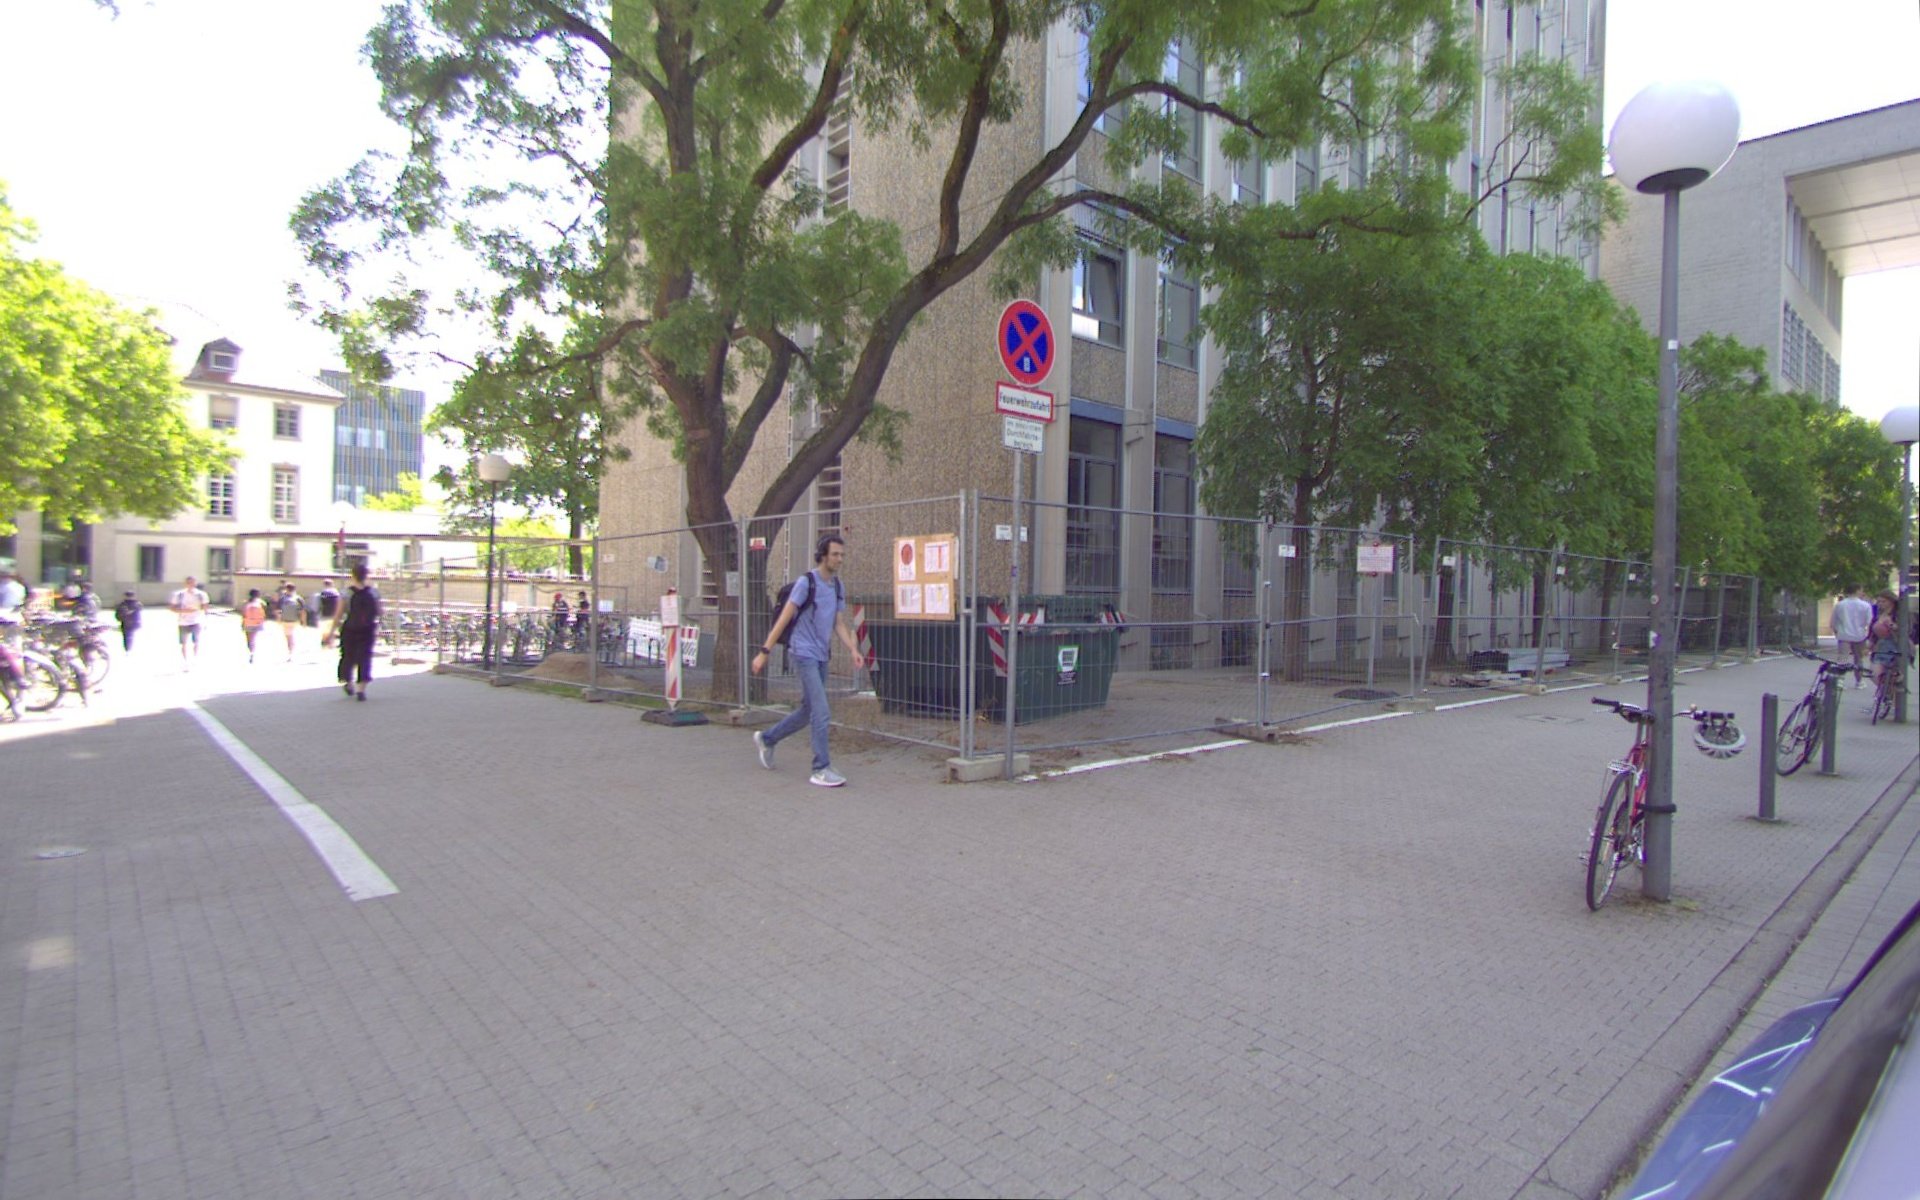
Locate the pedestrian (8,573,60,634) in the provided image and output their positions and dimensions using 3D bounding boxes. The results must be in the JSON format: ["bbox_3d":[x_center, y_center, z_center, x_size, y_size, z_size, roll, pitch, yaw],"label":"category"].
[{"bbox_3d":[-28.574,0.088,31.237,0.886,1.845,0.686,-1,2,-7],"label":"pedestrian"}]

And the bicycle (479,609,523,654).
[{"bbox_3d":[-12.680,0.863,27.937,0.536,1.184,1.998,1,-2,-42],"label":"bicycle"}]

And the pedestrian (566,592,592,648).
[{"bbox_3d":[-11.153,0.582,29.614,0.553,1.634,0.532,0,-1,-41],"label":"pedestrian"}]

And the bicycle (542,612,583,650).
[{"bbox_3d":[-12.800,0.990,32.577,0.536,1.184,2.063,1,-2,-42],"label":"bicycle"}]

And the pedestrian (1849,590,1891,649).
[{"bbox_3d":[26.377,0.556,29.344,0.697,1.676,0.873,1,0,30],"label":"pedestrian"}]

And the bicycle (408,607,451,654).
[{"bbox_3d":[-13.994,0.799,26.684,0.536,1.184,1.998,1,-2,-42],"label":"bicycle"}]

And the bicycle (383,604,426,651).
[{"bbox_3d":[-14.426,0.710,26.272,0.536,1.184,1.998,1,-2,-42],"label":"bicycle"}]

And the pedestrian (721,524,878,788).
[{"bbox_3d":[-1.136,0.350,7.032,0.689,1.672,1.048,-1,0,-34],"label":"pedestrian"}]

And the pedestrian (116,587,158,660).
[{"bbox_3d":[-20.614,0.567,25.342,0.902,1.749,0.674,0,2,44],"label":"pedestrian"}]

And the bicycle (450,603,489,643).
[{"bbox_3d":[-14.906,0.702,30.752,0.536,1.184,1.998,1,-2,-42],"label":"bicycle"}]

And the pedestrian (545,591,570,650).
[{"bbox_3d":[-11.401,0.578,28.663,0.523,1.651,0.562,0,-1,-41],"label":"pedestrian"}]

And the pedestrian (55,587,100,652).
[{"bbox_3d":[-24.715,0.527,28.347,0.898,1.749,0.677,0,2,33],"label":"pedestrian"}]

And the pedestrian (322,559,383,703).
[{"bbox_3d":[-7.393,0.355,12.306,0.577,1.672,0.855,-1,0,-34],"label":"pedestrian"}]

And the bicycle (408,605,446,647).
[{"bbox_3d":[-15.681,0.762,29.753,0.536,1.184,1.998,1,-2,-42],"label":"bicycle"}]

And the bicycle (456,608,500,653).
[{"bbox_3d":[-13.156,0.831,27.585,0.536,1.184,1.998,1,-2,-42],"label":"bicycle"}]

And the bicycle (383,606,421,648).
[{"bbox_3d":[-16.098,0.779,29.186,0.536,1.184,1.998,1,-2,-42],"label":"bicycle"}]

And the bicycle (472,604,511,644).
[{"bbox_3d":[-14.449,0.730,31.171,0.536,1.184,1.998,1,-2,-42],"label":"bicycle"}]

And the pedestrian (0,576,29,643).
[{"bbox_3d":[-26.800,0.266,28.451,0.898,1.845,0.677,0,2,34],"label":"pedestrian"}]

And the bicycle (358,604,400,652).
[{"bbox_3d":[-14.811,0.700,25.781,0.536,1.184,1.998,1,-2,-42],"label":"bicycle"}]

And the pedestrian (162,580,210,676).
[{"bbox_3d":[-14.775,0.508,19.333,0.672,1.749,0.904,-2,2,-37],"label":"pedestrian"}]

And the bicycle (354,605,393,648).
[{"bbox_3d":[-16.616,0.752,28.651,0.536,1.184,1.998,1,-2,-42],"label":"bicycle"}]

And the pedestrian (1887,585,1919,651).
[{"bbox_3d":[26.732,0.508,28.504,0.697,1.826,0.873,1,0,30],"label":"pedestrian"}]

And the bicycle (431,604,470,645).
[{"bbox_3d":[-15.191,0.720,30.159,0.536,1.184,1.998,1,-2,-42],"label":"bicycle"}]

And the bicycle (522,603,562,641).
[{"bbox_3d":[-13.285,0.699,32.153,0.536,1.184,1.998,1,-2,-42],"label":"bicycle"}]

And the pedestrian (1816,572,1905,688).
[{"bbox_3d":[15.129,0.492,17.039,0.777,1.869,1.109,-1,-1,24],"label":"pedestrian"}]

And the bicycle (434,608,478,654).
[{"bbox_3d":[-13.509,0.820,27.107,0.536,1.184,1.998,1,-2,-42],"label":"bicycle"}]

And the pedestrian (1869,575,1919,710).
[{"bbox_3d":[12.580,0.552,13.437,0.719,1.746,0.684,1,-1,-44],"label":"pedestrian"}]

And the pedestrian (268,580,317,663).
[{"bbox_3d":[-14.506,0.439,21.992,0.902,1.749,0.674,0,2,44],"label":"pedestrian"}]

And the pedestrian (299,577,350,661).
[{"bbox_3d":[-13.589,0.386,21.640,0.902,1.749,0.674,0,2,44],"label":"pedestrian"}]

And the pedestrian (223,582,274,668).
[{"bbox_3d":[-15.011,0.512,21.357,0.902,1.749,0.674,0,2,44],"label":"pedestrian"}]

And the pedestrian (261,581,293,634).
[{"bbox_3d":[-23.174,0.255,34.341,0.902,1.749,0.674,0,2,44],"label":"pedestrian"}]

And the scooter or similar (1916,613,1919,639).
[{"bbox_3d":[44.994,1.214,46.749,0.436,1.166,1.158,1,0,-37],"label":"scooter or similar"}]
